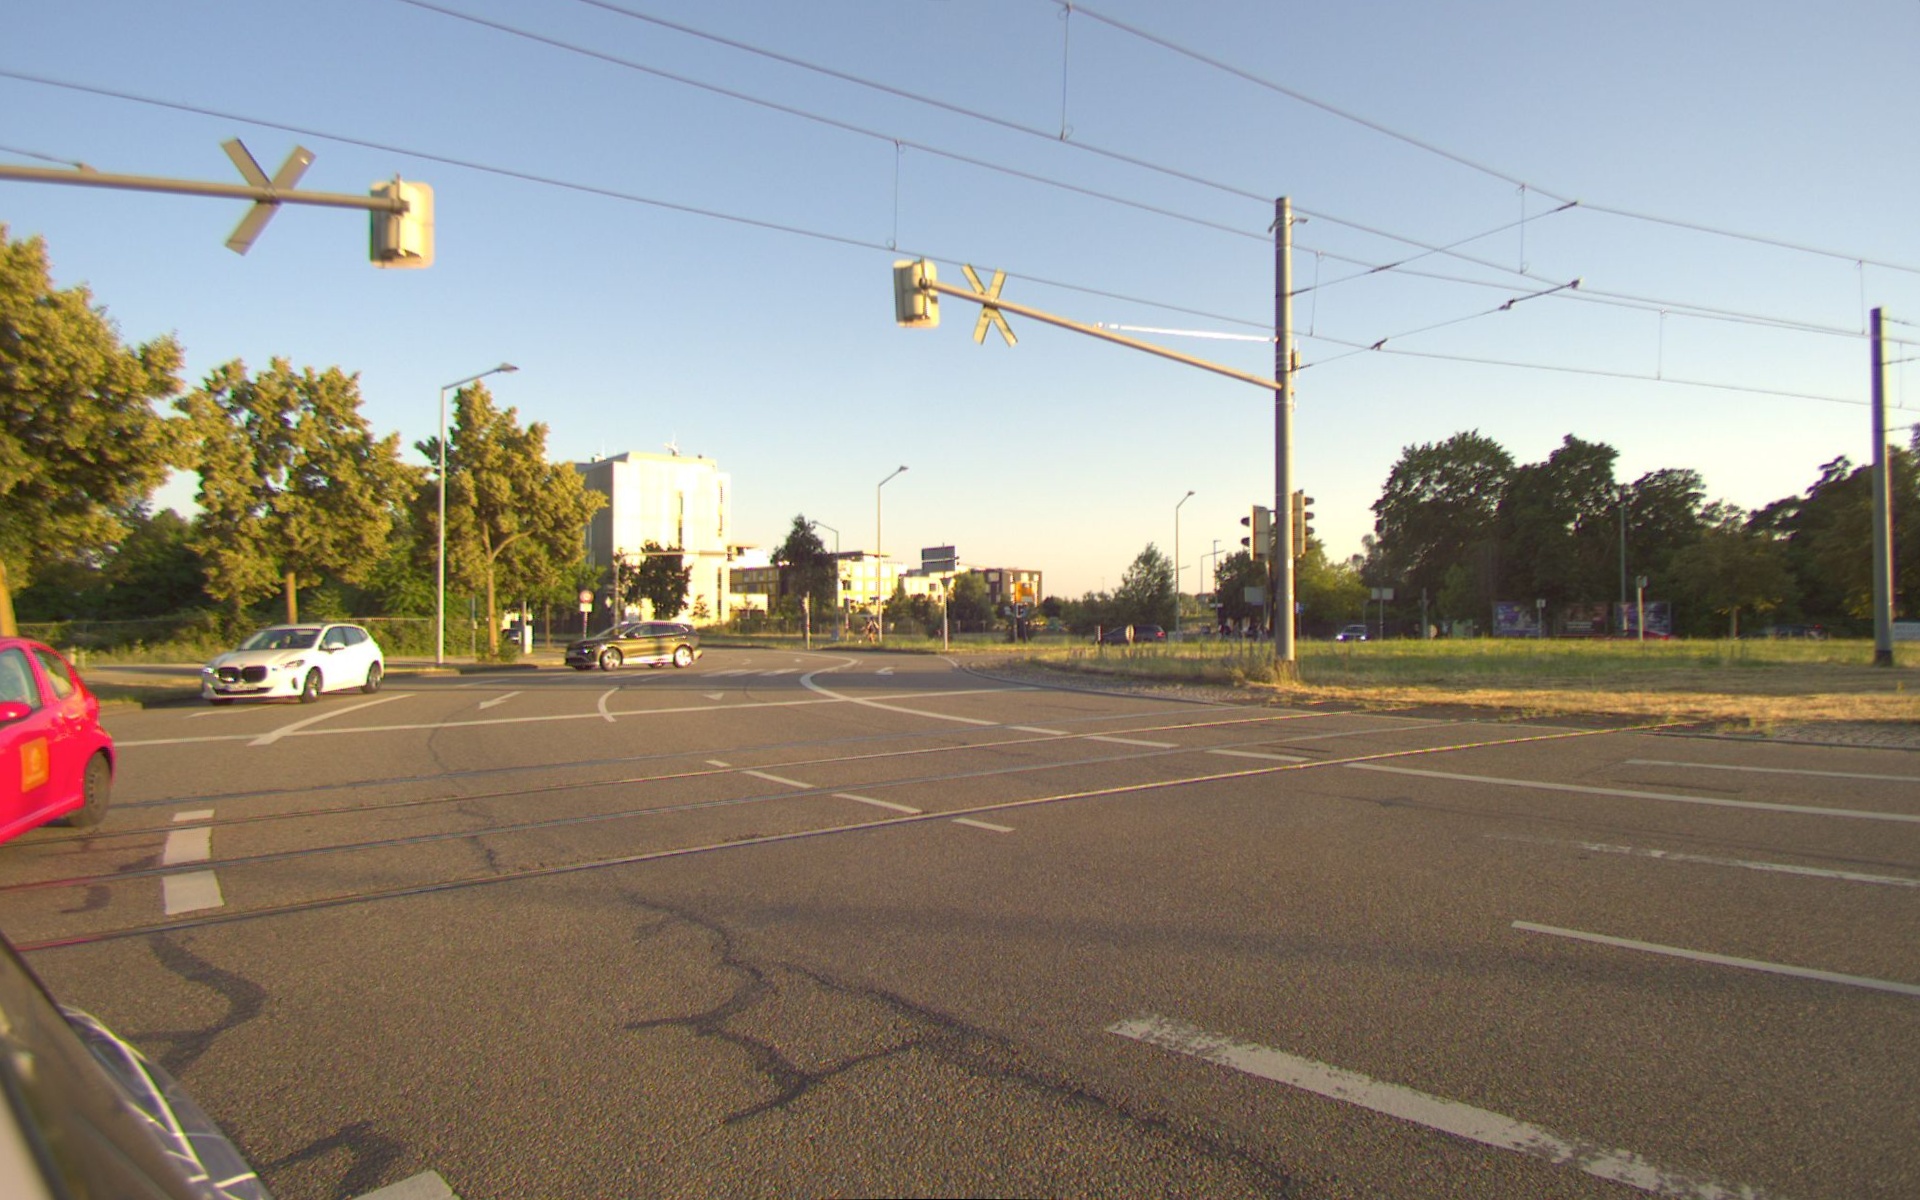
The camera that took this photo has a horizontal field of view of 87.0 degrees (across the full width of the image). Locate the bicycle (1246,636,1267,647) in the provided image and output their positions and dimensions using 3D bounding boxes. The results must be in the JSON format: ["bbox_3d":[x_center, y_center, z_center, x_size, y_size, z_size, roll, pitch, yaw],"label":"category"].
[{"bbox_3d":[21.757,3.055,74.244,1.400,0.797,0.473,0,-2,3],"label":"bicycle"}]

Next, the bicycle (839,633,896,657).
[{"bbox_3d":[-5.783,2.809,63.222,3.481,1.406,1.126,0,-1,-11],"label":"bicycle"}]

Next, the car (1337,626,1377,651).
[{"bbox_3d":[24.769,2.384,63.100,1.833,1.512,4.214,-1,-2,28],"label":"car"}]

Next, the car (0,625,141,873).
[{"bbox_3d":[-6.625,0.905,6.076,1.665,1.432,4.225,0,0,-25],"label":"car"}]

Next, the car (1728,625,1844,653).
[{"bbox_3d":[43.702,2.061,53.642,1.911,1.443,4.334,1,-2,-27],"label":"car"}]

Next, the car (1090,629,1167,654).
[{"bbox_3d":[10.184,2.494,61.136,4.366,1.443,1.933,-1,-2,18],"label":"car"}]

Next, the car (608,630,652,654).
[{"bbox_3d":[-24.801,3.131,75.947,1.843,1.637,4.201,1,-1,-38],"label":"car"}]

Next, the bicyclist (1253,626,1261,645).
[{"bbox_3d":[21.763,2.613,74.243,0.442,1.408,0.473,0,-2,3],"label":"bicyclist"}]

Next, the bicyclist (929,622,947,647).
[{"bbox_3d":[-1.487,2.344,69.111,0.984,1.645,0.813,1,-2,-33],"label":"bicyclist"}]

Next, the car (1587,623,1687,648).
[{"bbox_3d":[40.340,2.142,60.424,1.911,1.443,4.609,1,-2,-29],"label":"car"}]

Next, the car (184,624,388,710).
[{"bbox_3d":[-13.582,1.296,20.731,1.733,1.570,4.220,0,-2,-6],"label":"car"}]

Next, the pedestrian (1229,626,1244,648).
[{"bbox_3d":[21.452,2.844,78.476,0.876,1.714,0.722,1,-3,-39],"label":"pedestrian"}]

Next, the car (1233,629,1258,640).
[{"bbox_3d":[36.924,4.448,131.050,1.917,1.443,4.403,0,-2,-1],"label":"car"}]

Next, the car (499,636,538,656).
[{"bbox_3d":[-37.603,3.879,86.169,1.844,1.637,4.199,1,-1,-41],"label":"car"}]

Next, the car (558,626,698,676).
[{"bbox_3d":[-11.002,1.655,33.755,1.826,1.570,4.159,-2,-2,39],"label":"car"}]

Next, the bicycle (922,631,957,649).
[{"bbox_3d":[-1.378,2.732,69.177,2.290,1.188,0.813,1,-2,-33],"label":"bicycle"}]

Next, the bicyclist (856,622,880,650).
[{"bbox_3d":[-5.744,2.245,63.253,1.394,1.762,1.126,0,-1,-11],"label":"bicyclist"}]
